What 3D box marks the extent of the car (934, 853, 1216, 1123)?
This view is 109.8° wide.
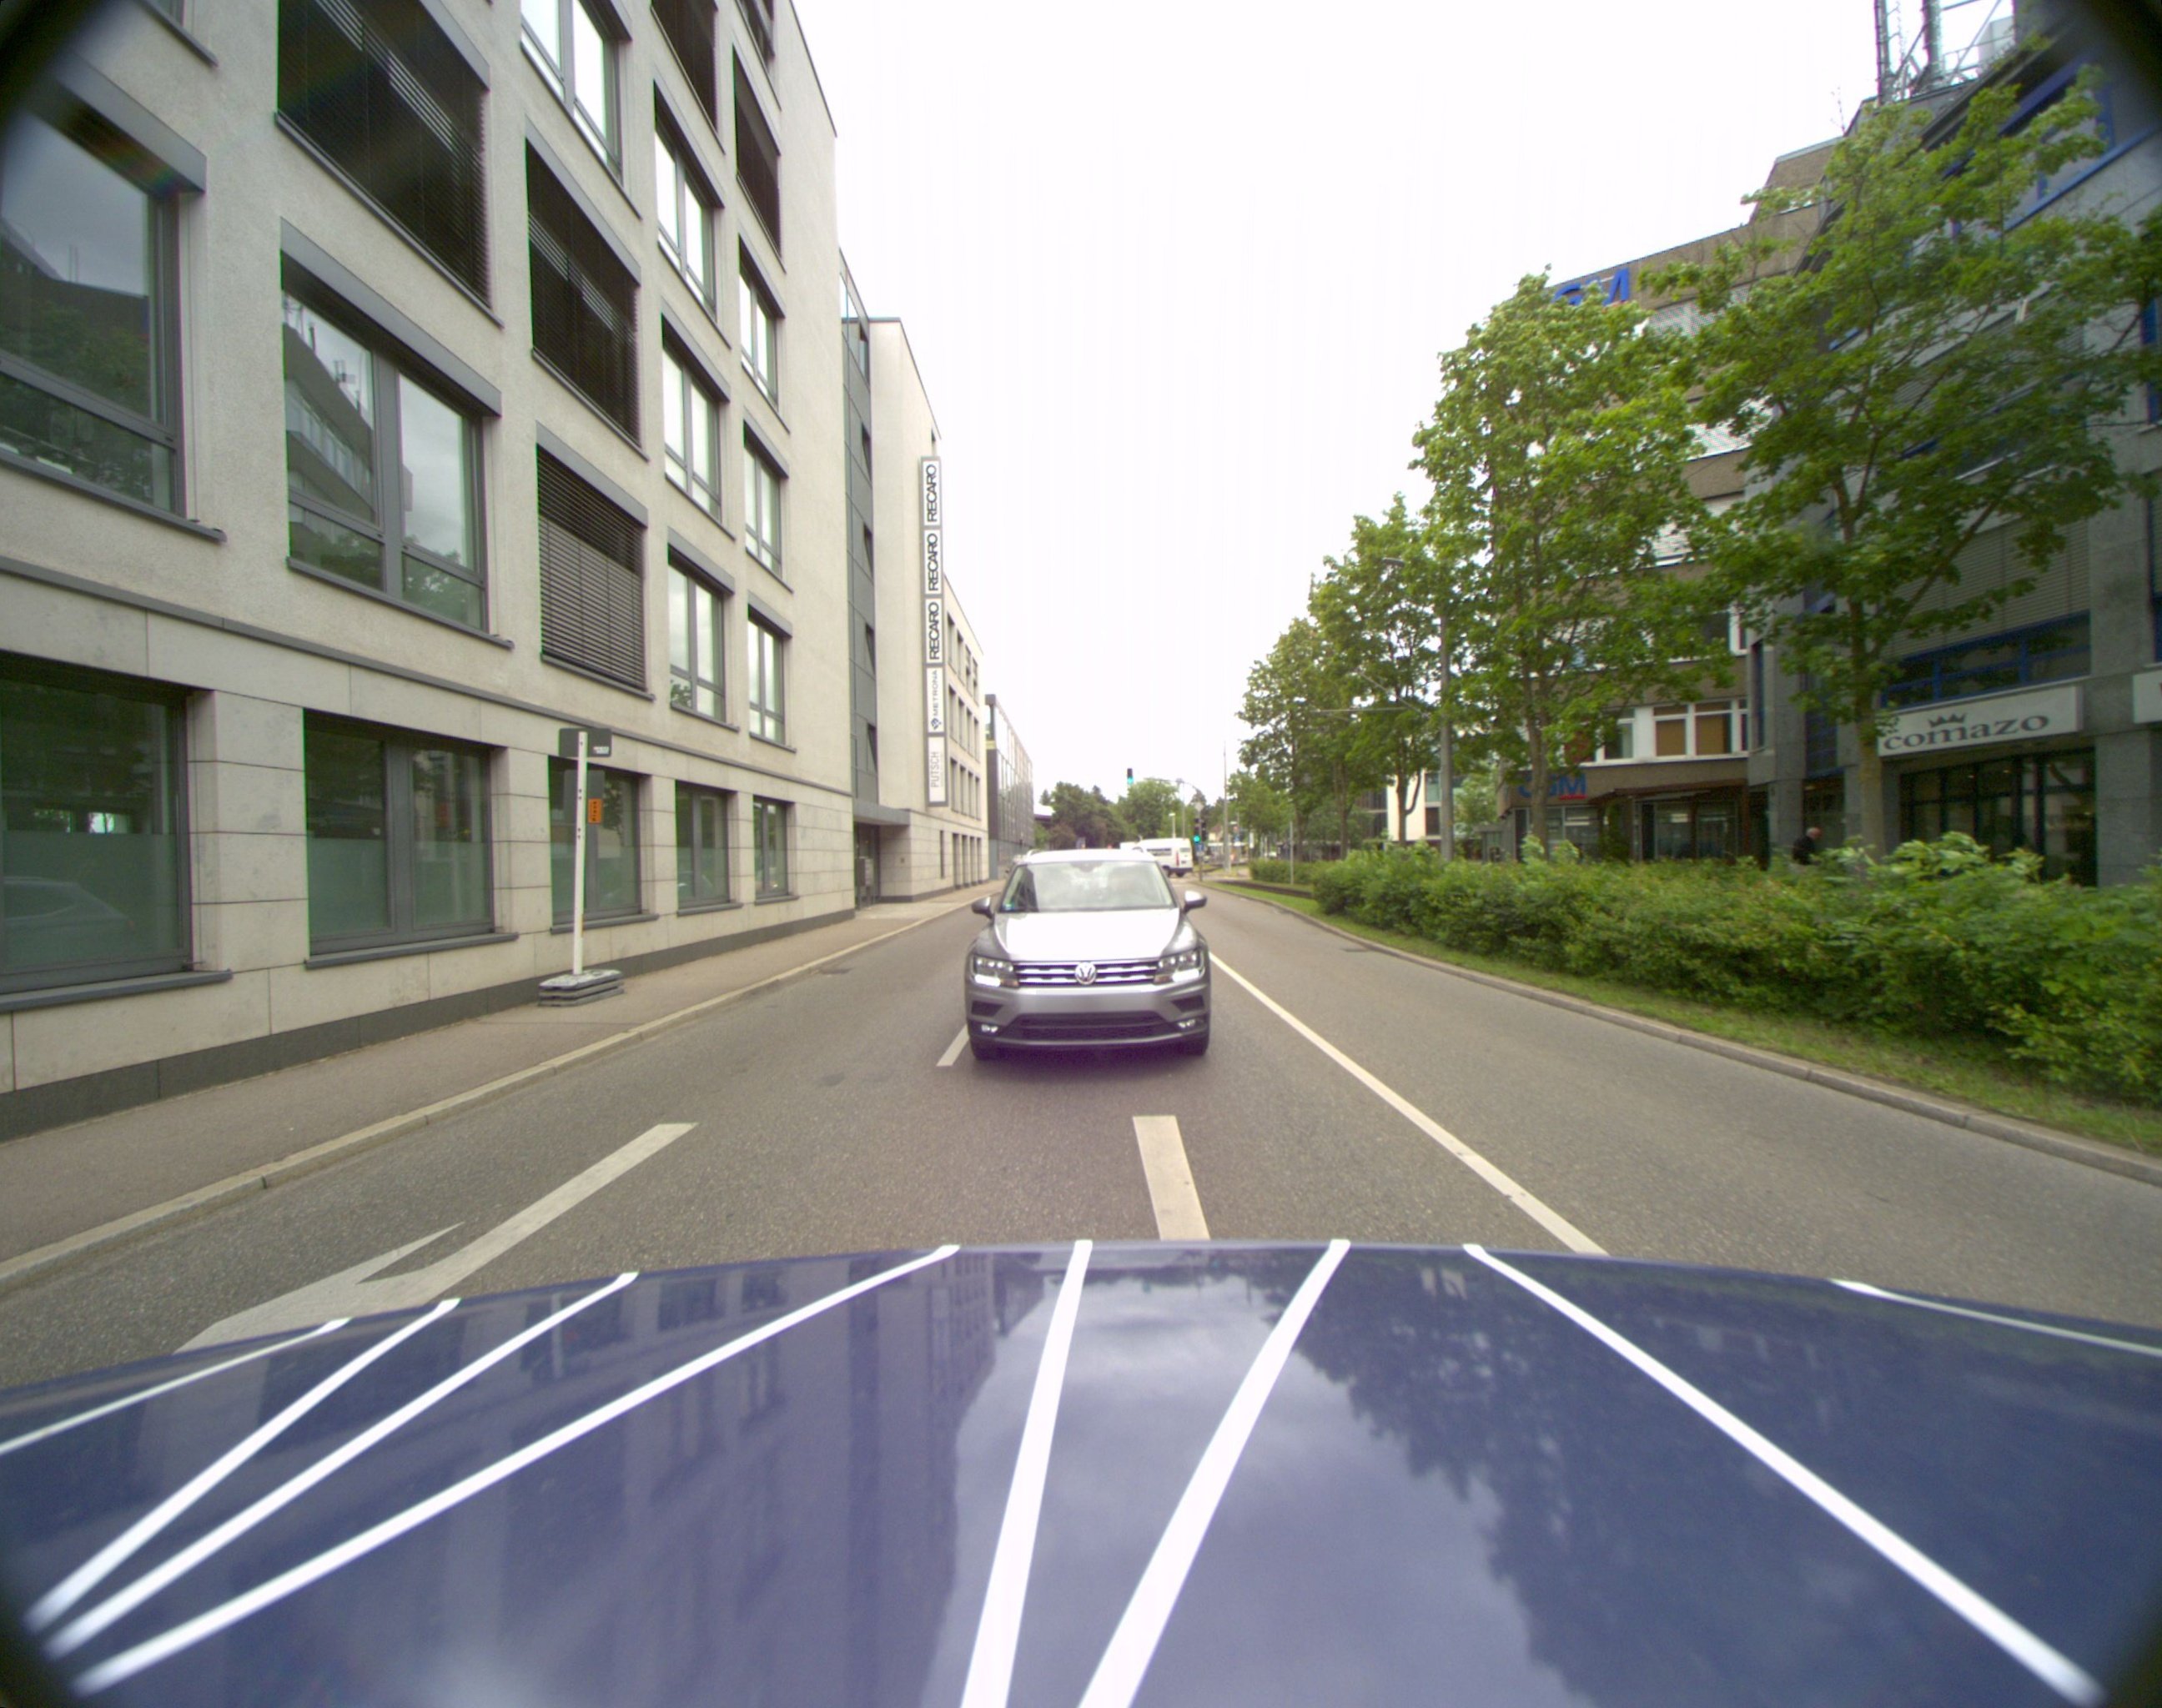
[{"bbox_3d":[-0.004,0.872,7.168,1.798,1.716,4.458,-1,0,1],"label":"car"}]

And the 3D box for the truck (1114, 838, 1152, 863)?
[{"bbox_3d":[8.134,-0.609,116.877,2.317,3.626,8.024,-1,1,31],"label":"truck"}]

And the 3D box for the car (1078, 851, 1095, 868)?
[{"bbox_3d":[0.718,0.688,96.075,1.998,2.002,4.000,-2,1,1],"label":"car"}]

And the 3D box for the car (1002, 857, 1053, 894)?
[{"bbox_3d":[-2.385,0.944,34.861,1.890,1.483,4.000,-4,0,1],"label":"car"}]

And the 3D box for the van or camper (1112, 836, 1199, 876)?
[{"bbox_3d":[5.340,0.150,55.255,6.134,2.718,2.118,-1,1,41],"label":"van or camper"}]

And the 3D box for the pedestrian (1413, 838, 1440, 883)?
[{"bbox_3d":[14.789,0.275,32.532,0.816,1.912,0.731,-2,1,0],"label":"pedestrian"}]

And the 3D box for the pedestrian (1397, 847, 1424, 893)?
[{"bbox_3d":[13.304,0.634,30.688,0.680,1.795,0.731,-2,1,-4],"label":"pedestrian"}]

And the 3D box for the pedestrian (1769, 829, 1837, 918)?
[{"bbox_3d":[15.778,0.420,16.622,0.776,1.883,0.731,-2,1,-1],"label":"pedestrian"}]
